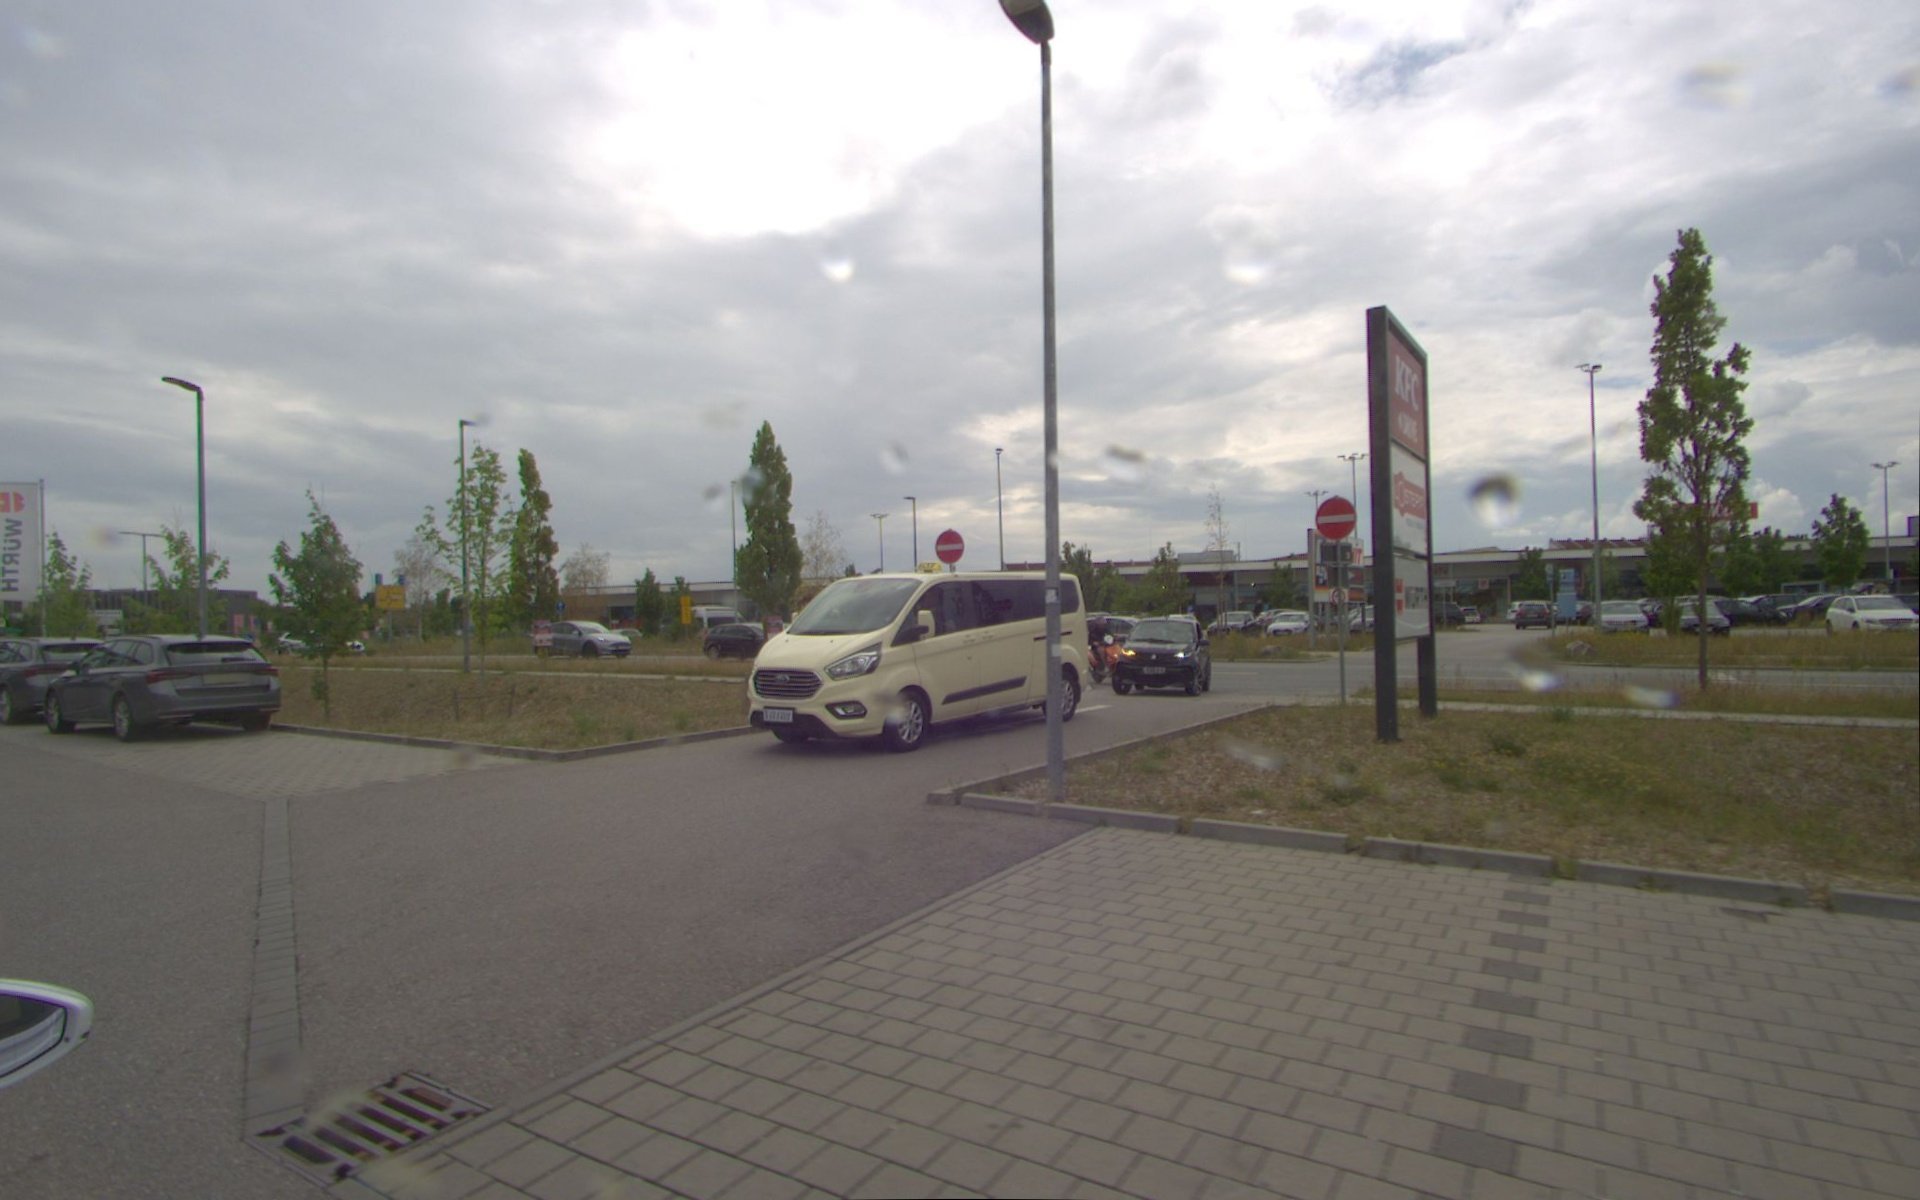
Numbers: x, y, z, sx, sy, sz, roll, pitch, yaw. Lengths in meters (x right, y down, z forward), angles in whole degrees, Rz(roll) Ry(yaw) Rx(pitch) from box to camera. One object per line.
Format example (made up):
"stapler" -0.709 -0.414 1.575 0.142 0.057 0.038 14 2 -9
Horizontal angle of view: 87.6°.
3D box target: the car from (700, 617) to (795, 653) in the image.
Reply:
"car" -9.189 1.509 43.277 3.860 1.479 1.653 -2 0 28

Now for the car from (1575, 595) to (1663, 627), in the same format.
"car" 40.611 0.648 61.793 4.112 1.862 1.996 -1 1 18

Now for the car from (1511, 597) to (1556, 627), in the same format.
"car" 32.461 0.682 56.604 1.972 1.560 4.136 -1 0 33

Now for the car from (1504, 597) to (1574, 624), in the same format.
"car" 43.259 0.768 74.901 4.112 1.862 1.996 -1 1 18

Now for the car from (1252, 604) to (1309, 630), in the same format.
"car" 24.464 1.304 76.530 4.112 1.862 1.996 -1 1 18

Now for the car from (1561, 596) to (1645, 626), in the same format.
"car" 41.197 0.709 64.268 4.112 1.862 1.996 -1 1 18

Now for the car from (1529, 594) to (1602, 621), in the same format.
"car" 43.458 0.546 71.941 4.112 1.862 1.996 -1 1 18

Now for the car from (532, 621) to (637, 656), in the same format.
"car" -16.106 1.657 42.874 4.490 1.413 1.761 -1 -1 29

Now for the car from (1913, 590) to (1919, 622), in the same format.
"car" 57.887 0.301 57.520 4.111 1.862 1.996 -1 1 17

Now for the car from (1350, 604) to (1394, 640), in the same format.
"car" 19.173 0.999 46.509 1.744 1.560 3.750 -1 0 25

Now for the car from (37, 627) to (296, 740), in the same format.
"car" -12.097 1.176 15.198 4.413 1.488 1.748 -2 -2 32

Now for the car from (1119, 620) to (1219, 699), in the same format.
"car" 4.031 1.079 19.013 1.440 1.354 3.157 -1 -2 20

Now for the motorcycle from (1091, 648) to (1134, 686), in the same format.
"motorcycle" 3.462 1.500 22.620 0.801 0.783 2.027 -2 -3 12

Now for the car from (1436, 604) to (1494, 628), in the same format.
"car" 43.038 1.357 85.437 4.112 1.862 1.996 -1 1 18

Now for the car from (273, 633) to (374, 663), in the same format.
"car" -32.112 2.416 50.549 4.475 1.413 1.767 -1 -1 15

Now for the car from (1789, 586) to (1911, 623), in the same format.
"car" 46.228 0.221 52.126 4.243 1.795 1.997 -2 0 17

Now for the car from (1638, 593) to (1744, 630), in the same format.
"car" 38.716 0.617 53.150 4.112 1.862 1.996 -1 1 18

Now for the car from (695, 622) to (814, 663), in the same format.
"car" -7.552 1.538 36.689 4.155 1.413 1.761 -1 -1 29

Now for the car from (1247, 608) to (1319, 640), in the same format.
"car" 19.616 1.459 60.930 4.112 1.862 1.996 -1 1 18

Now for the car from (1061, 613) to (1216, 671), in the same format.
"car" 5.057 1.173 28.563 3.946 1.479 1.818 -1 0 35

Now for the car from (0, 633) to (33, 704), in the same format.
"car" -21.983 1.469 21.644 4.046 1.488 1.749 -1 -2 30

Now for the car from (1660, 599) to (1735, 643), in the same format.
"car" 28.767 0.793 39.173 1.744 1.560 4.037 -1 0 28

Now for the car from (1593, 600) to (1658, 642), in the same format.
"car" 27.020 0.841 40.740 1.744 1.560 4.037 -1 0 28

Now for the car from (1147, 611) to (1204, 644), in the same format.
"car" 11.334 1.414 52.464 1.836 1.521 4.055 -1 0 28

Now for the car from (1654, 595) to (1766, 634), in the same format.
"car" 37.879 0.724 50.687 4.112 1.862 1.996 -1 1 18

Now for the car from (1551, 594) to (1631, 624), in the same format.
"car" 41.818 0.598 66.467 4.112 1.862 1.996 -1 1 18

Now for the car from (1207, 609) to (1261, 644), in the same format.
"car" 13.736 1.303 50.127 1.968 1.560 4.041 -1 0 25

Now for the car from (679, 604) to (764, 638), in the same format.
"car" -16.359 1.405 68.891 2.308 2.150 5.563 -1 0 34

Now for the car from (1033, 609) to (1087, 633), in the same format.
"car" 8.327 1.749 83.194 4.113 1.862 1.996 -1 1 19

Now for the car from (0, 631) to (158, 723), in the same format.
"car" -16.727 1.341 18.307 4.409 1.488 1.749 -1 -2 30

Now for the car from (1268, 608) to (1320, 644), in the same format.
"car" 16.250 1.233 48.632 1.968 1.560 4.041 -1 0 25

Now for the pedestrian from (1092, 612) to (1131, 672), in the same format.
"pedestrian" 3.422 0.946 22.559 0.791 1.297 0.898 -1 -2 13

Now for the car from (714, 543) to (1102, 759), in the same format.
"car" -0.364 0.522 12.517 1.975 2.114 5.194 0 0 37

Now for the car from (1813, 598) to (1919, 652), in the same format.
"car" 33.539 0.872 36.737 1.965 1.795 4.311 -1 0 20

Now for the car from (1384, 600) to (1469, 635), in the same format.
"car" 26.210 0.967 56.374 4.112 1.862 1.996 -1 1 18

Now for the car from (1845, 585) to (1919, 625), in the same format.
"car" 44.649 0.203 46.976 4.242 1.795 1.997 -2 0 15
